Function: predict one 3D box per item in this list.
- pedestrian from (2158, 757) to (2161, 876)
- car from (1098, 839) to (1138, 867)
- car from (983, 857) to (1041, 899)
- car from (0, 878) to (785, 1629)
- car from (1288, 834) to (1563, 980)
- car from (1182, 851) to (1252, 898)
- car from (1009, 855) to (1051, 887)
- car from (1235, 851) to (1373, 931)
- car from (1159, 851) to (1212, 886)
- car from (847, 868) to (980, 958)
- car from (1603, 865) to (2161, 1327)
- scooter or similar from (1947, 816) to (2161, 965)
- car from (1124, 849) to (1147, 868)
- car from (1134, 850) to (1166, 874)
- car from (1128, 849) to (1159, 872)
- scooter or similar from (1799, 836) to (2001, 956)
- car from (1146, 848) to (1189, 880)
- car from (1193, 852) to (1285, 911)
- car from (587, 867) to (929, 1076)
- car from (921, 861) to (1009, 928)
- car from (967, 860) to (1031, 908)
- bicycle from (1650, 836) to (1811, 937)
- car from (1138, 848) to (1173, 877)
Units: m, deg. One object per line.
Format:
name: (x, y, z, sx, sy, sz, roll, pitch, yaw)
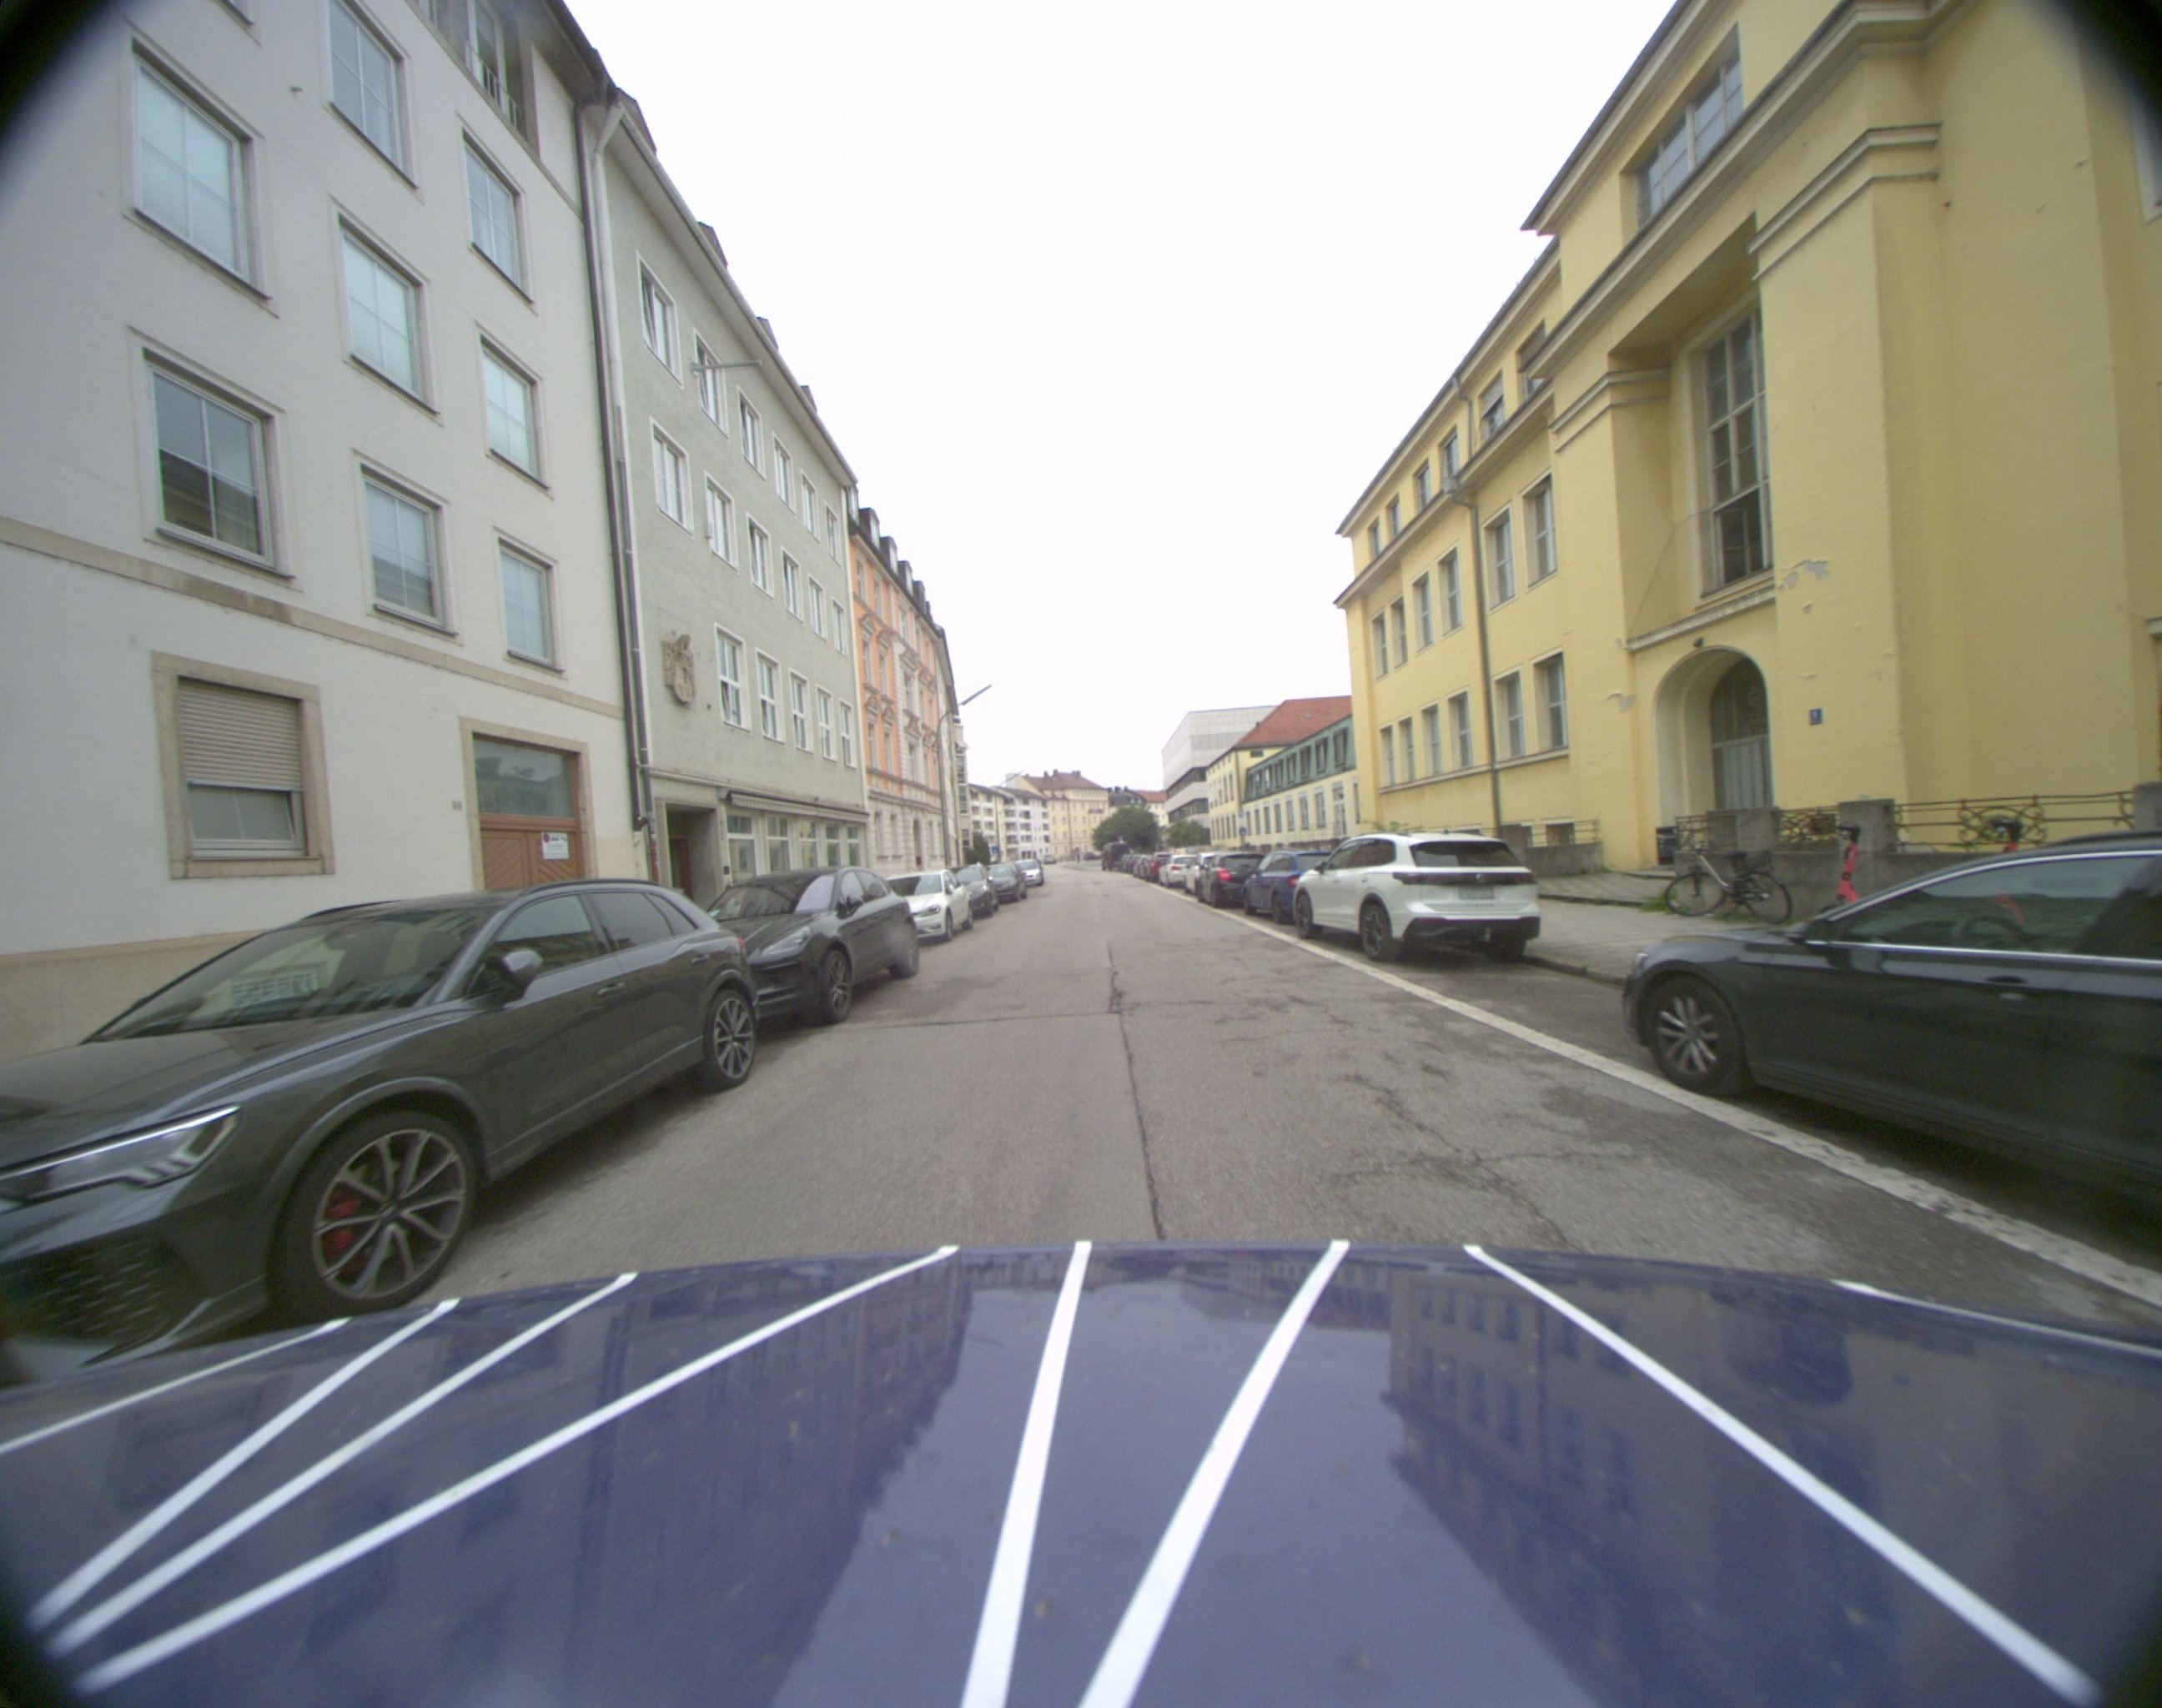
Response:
pedestrian: (8.334, 0.173, 5.189, 0.776, 1.814, 0.782, -3, 1, 4)
car: (3.618, -0.144, 76.045, 2.848, 2.537, 6.889, -3, 0, -6)
car: (-3.124, 1.054, 35.440, 2.001, 1.563, 4.491, -6, 0, 2)
car: (-3.433, 1.078, 3.911, 1.831, 1.572, 4.491, -5, 0, 1)
car: (4.466, 0.585, 10.687, 1.786, 1.631, 4.299, 0, 0, -2)
car: (4.589, 0.650, 26.157, 1.690, 1.438, 4.112, -1, 1, 0)
car: (-3.003, 0.960, 45.300, 2.001, 1.563, 4.490, -6, 0, 1)
car: (4.475, 0.663, 15.835, 1.611, 1.438, 3.916, -1, 0, -2)
car: (4.567, 0.590, 33.699, 1.816, 1.390, 4.019, -1, 1, 0)
car: (-3.390, 1.136, 16.190, 1.745, 1.422, 4.181, -5, 0, 1)
car: (4.264, 0.779, 2.548, 1.778, 1.400, 4.600, 0, 0, -2)
scooter or similar: (8.552, 0.277, 6.521, 0.532, 1.129, 1.445, -4, 0, 1)
car: (4.587, 0.349, 64.505, 1.673, 1.509, 3.947, -3, 1, 0)
car: (4.434, 0.476, 49.455, 1.673, 1.419, 3.947, -3, 1, 0)
car: (4.861, 0.480, 59.685, 1.998, 1.631, 4.209, -3, 1, 0)
scooter or similar: (8.600, 0.416, 8.068, 0.532, 1.129, 1.445, -4, 0, 1)
car: (4.427, 0.457, 39.403, 1.774, 1.546, 4.209, -1, 1, 0)
car: (4.227, 0.684, 20.876, 1.738, 1.431, 3.779, -1, 0, 0)
car: (-3.277, 1.074, 8.894, 1.831, 1.572, 4.491, -5, 0, 2)
car: (-3.289, 1.109, 22.333, 1.768, 1.531, 4.000, -7, 0, 1)
car: (-3.030, 1.090, 28.925, 1.725, 1.458, 4.192, -6, 0, 2)
bicycle: (8.557, 0.388, 10.117, 0.585, 1.181, 1.765, -4, 1, 1)
car: (4.361, 0.462, 44.820, 1.673, 1.509, 3.947, -3, 1, 0)
